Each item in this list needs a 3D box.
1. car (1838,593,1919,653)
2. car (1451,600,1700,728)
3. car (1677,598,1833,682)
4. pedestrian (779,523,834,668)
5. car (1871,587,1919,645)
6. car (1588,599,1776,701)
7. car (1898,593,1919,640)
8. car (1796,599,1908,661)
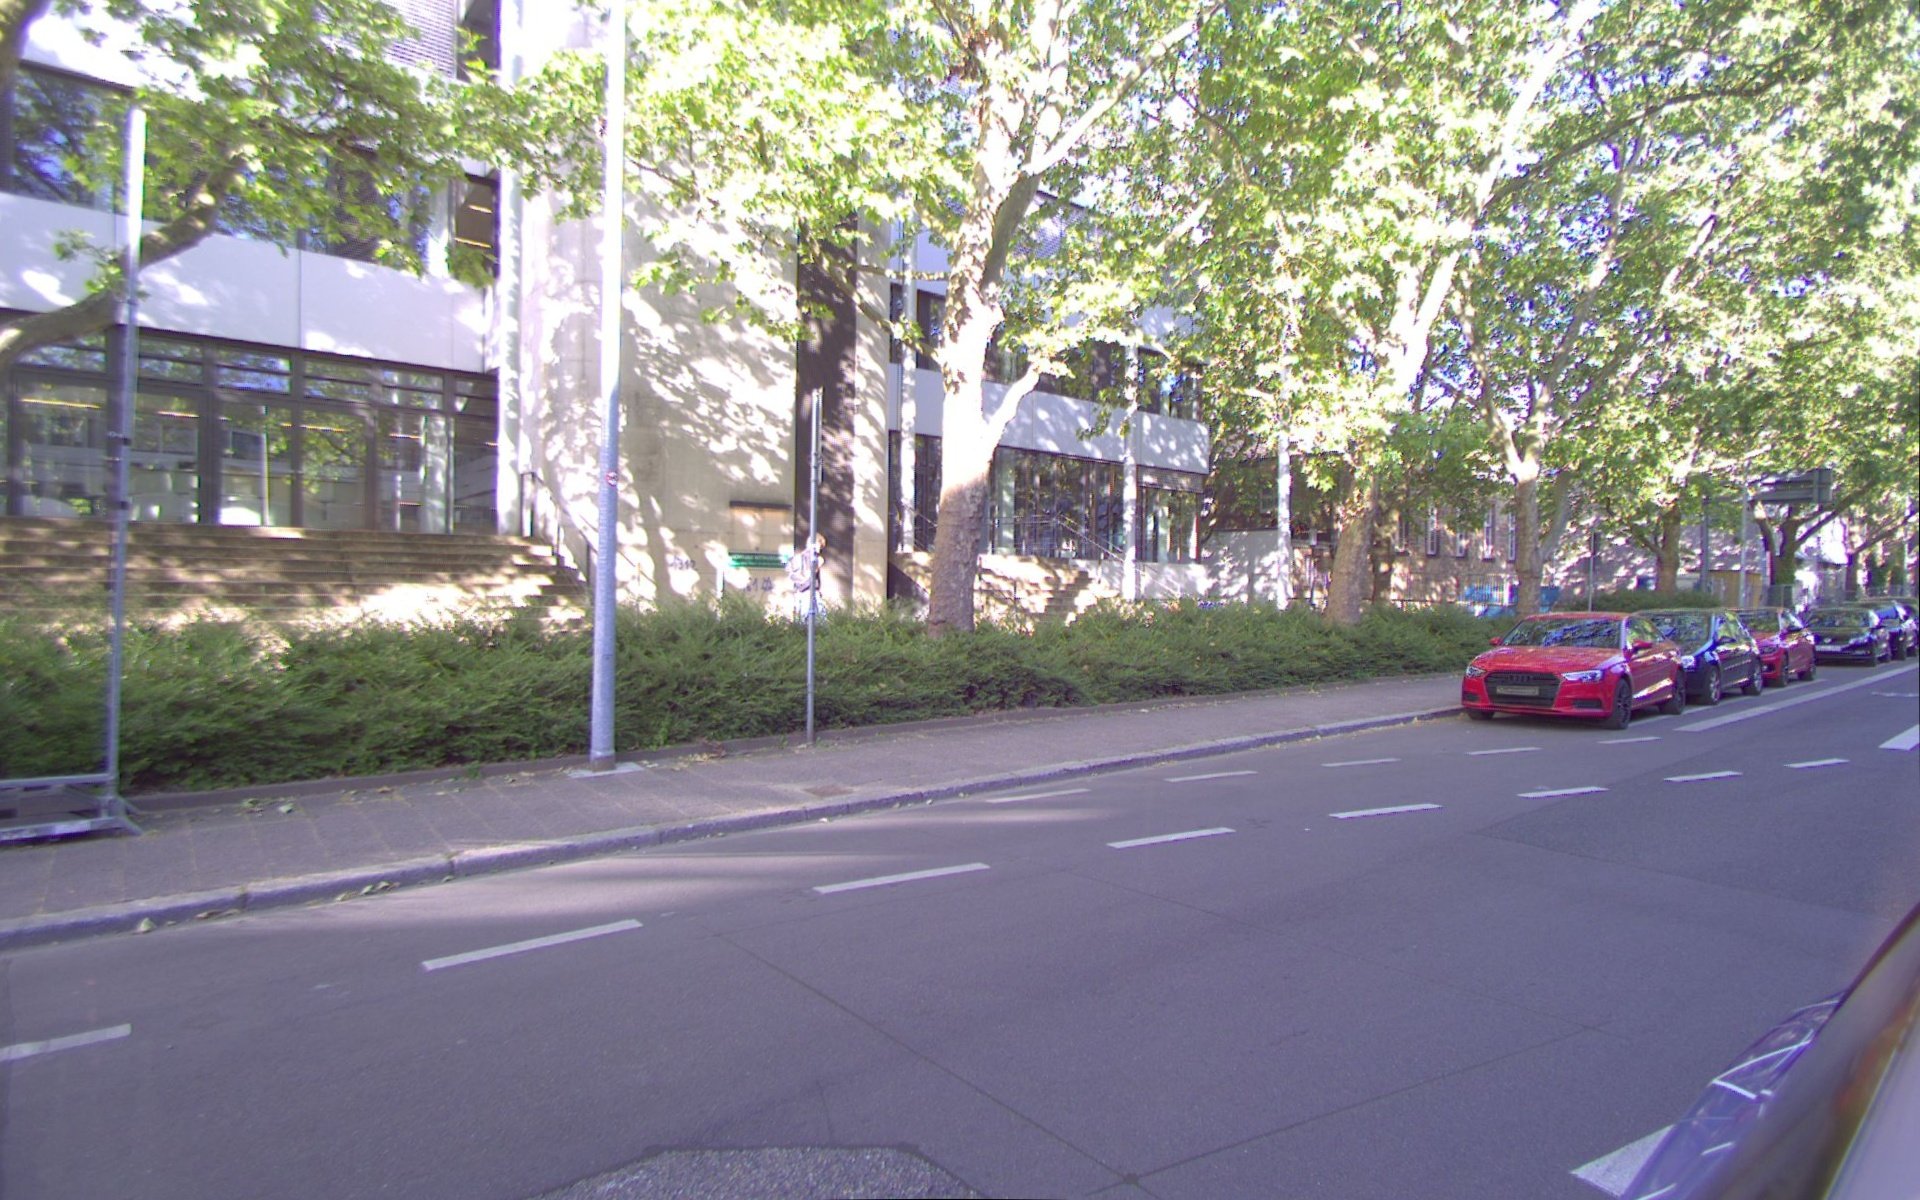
[{"bbox_3d":[26.632,0.601,29.052,4.158,1.598,1.632,-1,0,-41],"label":"car"},{"bbox_3d":[8.300,0.735,13.522,3.931,1.409,1.792,-1,0,-42],"label":"car"},{"bbox_3d":[15.742,0.706,19.979,3.854,1.467,1.691,-1,0,-40],"label":"car"},{"bbox_3d":[-2.217,-0.073,14.635,0.549,2.039,0.555,0,0,38],"label":"pedestrian"},{"bbox_3d":[31.170,0.470,33.021,4.497,1.814,1.632,-1,0,-41],"label":"car"},{"bbox_3d":[11.855,0.728,16.552,3.632,1.436,1.668,-1,0,-40],"label":"car"},{"bbox_3d":[35.533,0.570,36.792,4.497,1.633,1.632,-1,0,-41],"label":"car"},{"bbox_3d":[22.947,0.709,25.995,3.855,1.441,1.691,-1,0,-41],"label":"car"}]
